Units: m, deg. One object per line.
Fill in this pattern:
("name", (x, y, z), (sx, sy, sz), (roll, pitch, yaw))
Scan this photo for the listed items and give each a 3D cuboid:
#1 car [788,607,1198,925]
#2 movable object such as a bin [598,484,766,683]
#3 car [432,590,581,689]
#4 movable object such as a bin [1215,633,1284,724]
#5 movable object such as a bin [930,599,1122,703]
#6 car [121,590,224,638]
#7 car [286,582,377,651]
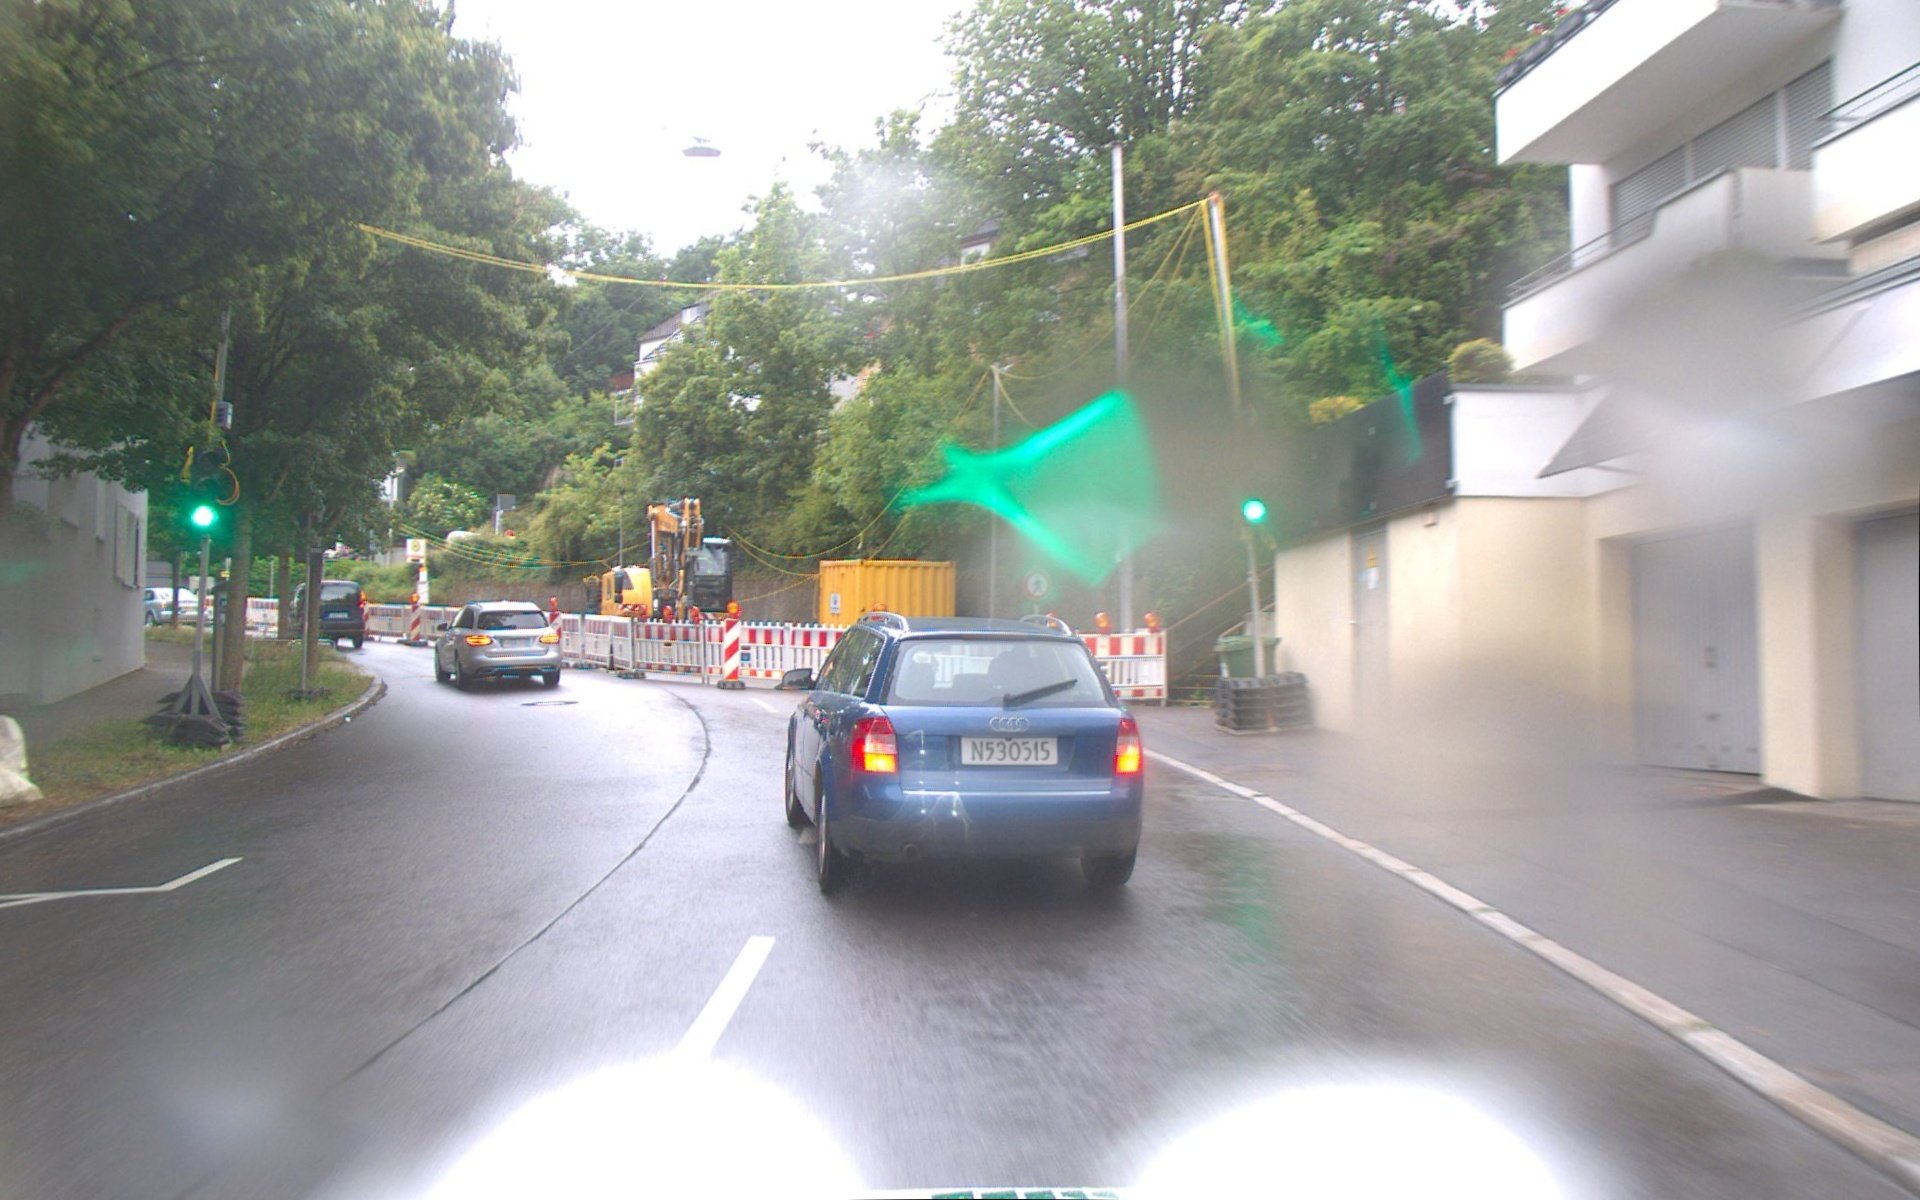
("car", (-0.027, 0.786, 9.856), (1.753, 1.467, 3.955), (-1, 0, -9))
("movable object such as a bin", (-6.535, -0.381, 37.944), (2.776, 4.084, 7.289), (0, 0, -18))
("car", (-8.346, 0.657, 30.199), (1.902, 1.646, 4.285), (-1, 0, -25))
("movable object such as a bin", (3.451, 0.930, 19.737), (0.704, 1.050, 0.592), (-1, 0, -1))
("movable object such as a bin", (1.013, 0.788, 27.569), (1.962, 1.546, 3.980), (0, 1, -18))
("car", (-27.430, 0.491, 57.574), (4.001, 1.512, 1.717), (-2, 0, 40))
("car", (-17.940, 0.484, 47.120), (1.971, 1.825, 3.964), (-2, 0, -27))
